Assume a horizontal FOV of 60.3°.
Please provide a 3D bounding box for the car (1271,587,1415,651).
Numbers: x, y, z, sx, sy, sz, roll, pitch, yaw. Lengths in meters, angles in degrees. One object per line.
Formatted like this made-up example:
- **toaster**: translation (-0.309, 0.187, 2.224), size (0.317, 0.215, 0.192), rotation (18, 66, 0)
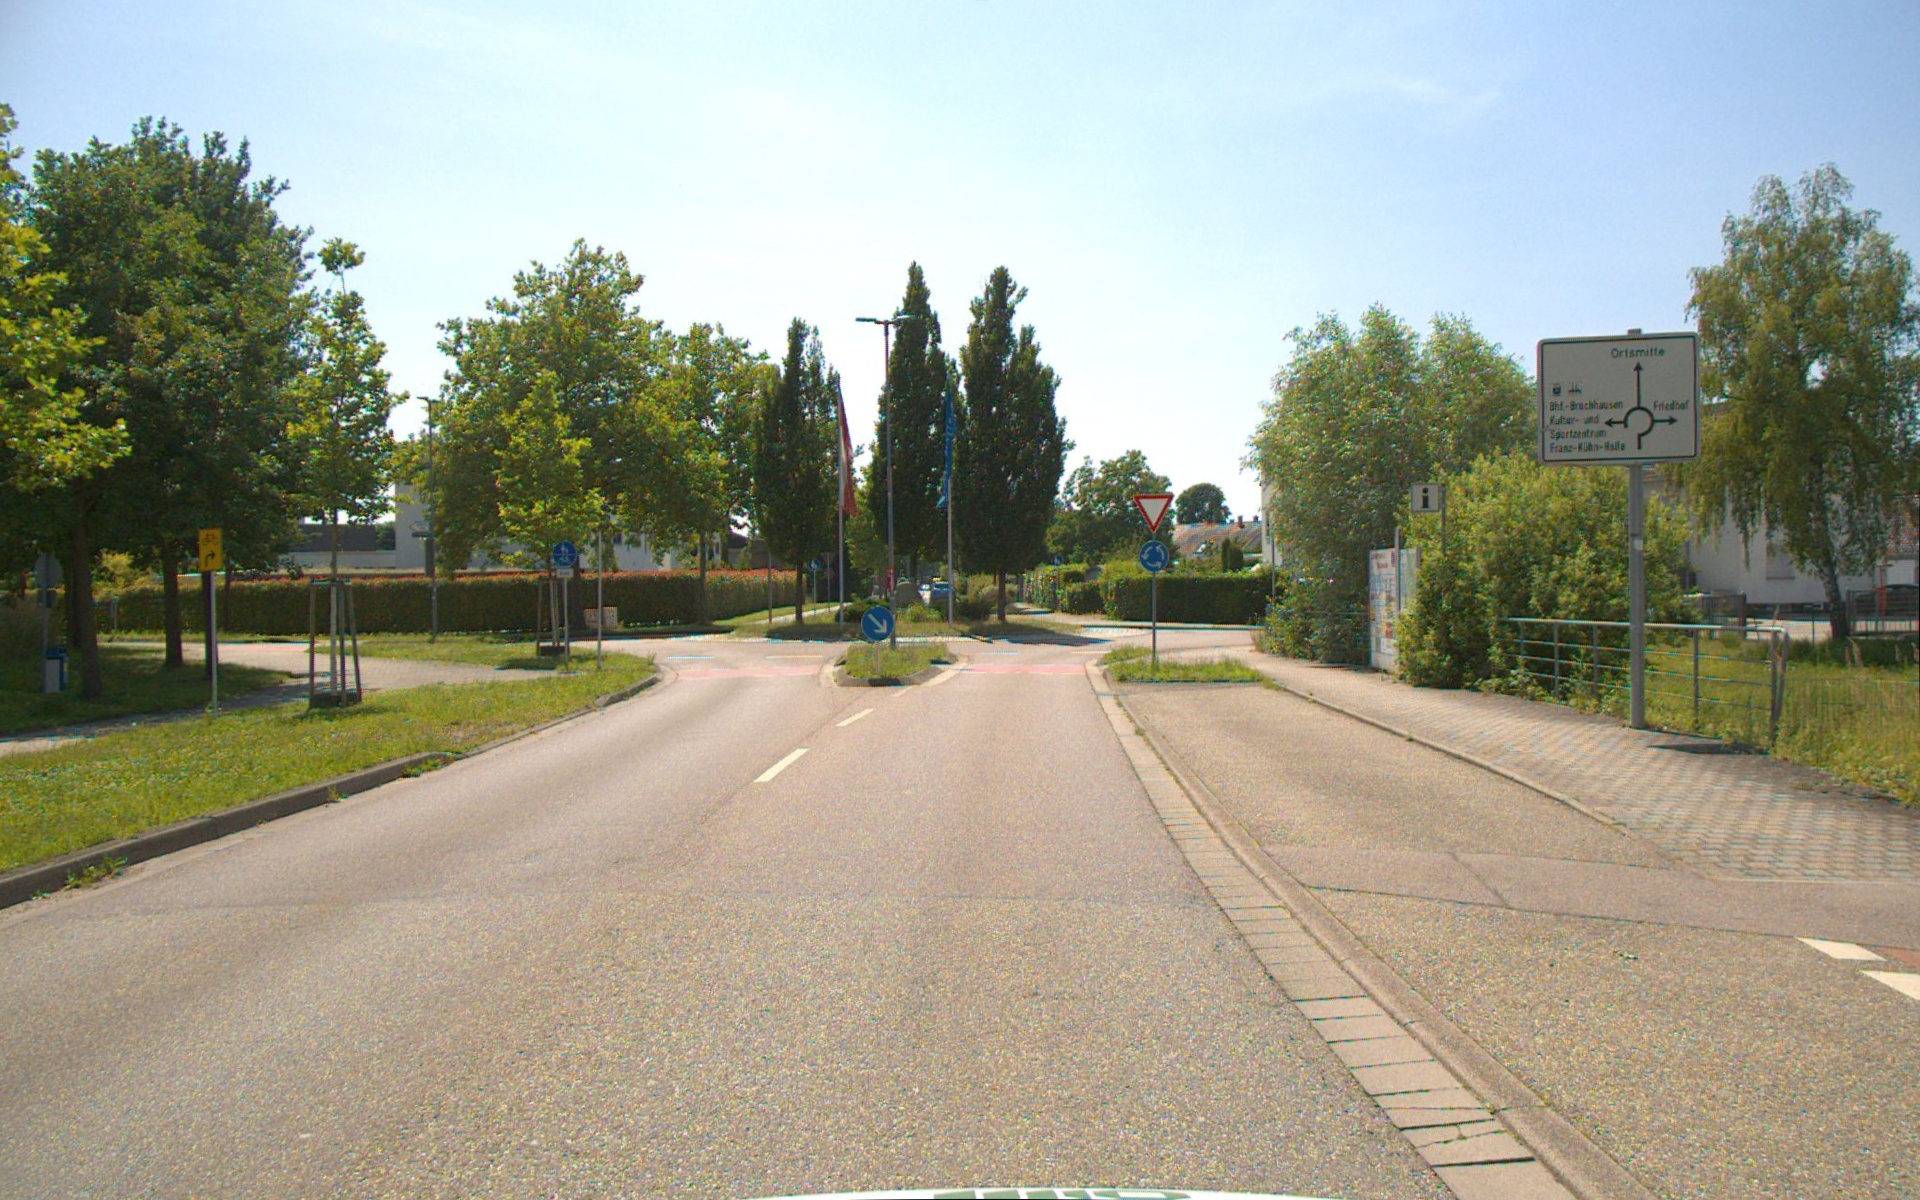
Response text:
- **car**: translation (12.929, 0.619, 55.689), size (5.099, 2.049, 2.104), rotation (1, 0, -40)

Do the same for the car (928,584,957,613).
- **car**: translation (-1.166, -0.105, 110.929), size (1.884, 1.919, 3.999), rotation (1, 0, -1)
